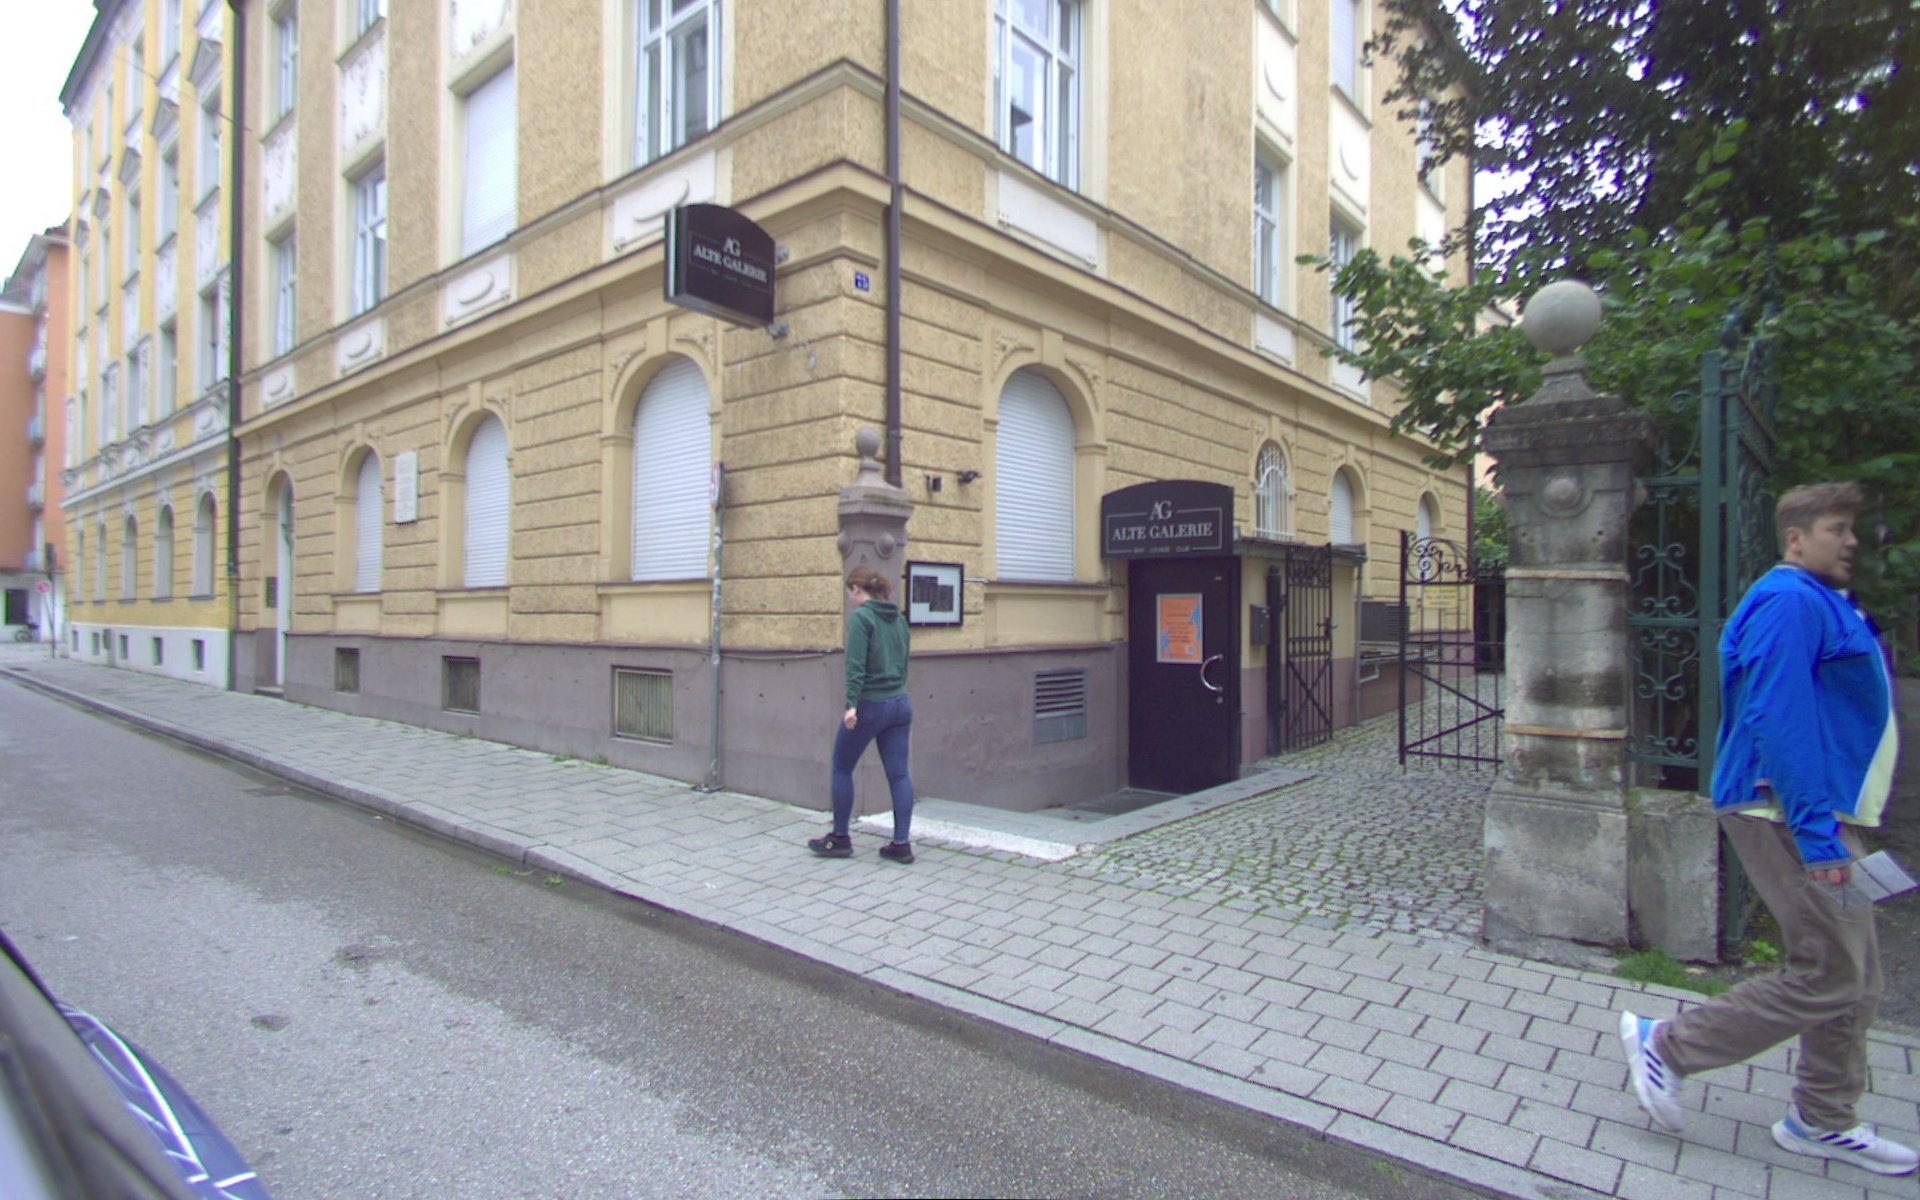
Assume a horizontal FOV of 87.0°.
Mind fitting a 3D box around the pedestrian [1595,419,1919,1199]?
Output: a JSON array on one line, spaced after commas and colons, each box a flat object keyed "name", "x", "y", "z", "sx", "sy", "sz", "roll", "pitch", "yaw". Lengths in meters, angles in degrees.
[{"name": "pedestrian", "x": 2.343, "y": 0.525, "z": 2.610, "sx": 1.076, "sy": 1.868, "sz": 0.749, "roll": -1, "pitch": 0, "yaw": 41}]

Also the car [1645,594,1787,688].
[{"name": "car", "x": 14.773, "y": 0.716, "z": 19.710, "sx": 3.677, "sy": 1.552, "sz": 1.636, "roll": -3, "pitch": 1, "yaw": -44}]

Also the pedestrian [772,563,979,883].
[{"name": "pedestrian", "x": -0.494, "y": 0.644, "z": 5.878, "sx": 0.929, "sy": 1.678, "sz": 0.705, "roll": -1, "pitch": 1, "yaw": 41}]

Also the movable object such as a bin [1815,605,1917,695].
[{"name": "movable object such as a bin", "x": 14.937, "y": 0.795, "z": 16.691, "sx": 1.209, "sy": 1.414, "sz": 1.109, "roll": 1, "pitch": -2, "yaw": -42}]

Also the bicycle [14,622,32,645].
[{"name": "bicycle", "x": -39.164, "y": 1.413, "z": 42.312, "sx": 1.539, "sy": 0.944, "sz": 0.386, "roll": -1, "pitch": -2, "yaw": 41}]
